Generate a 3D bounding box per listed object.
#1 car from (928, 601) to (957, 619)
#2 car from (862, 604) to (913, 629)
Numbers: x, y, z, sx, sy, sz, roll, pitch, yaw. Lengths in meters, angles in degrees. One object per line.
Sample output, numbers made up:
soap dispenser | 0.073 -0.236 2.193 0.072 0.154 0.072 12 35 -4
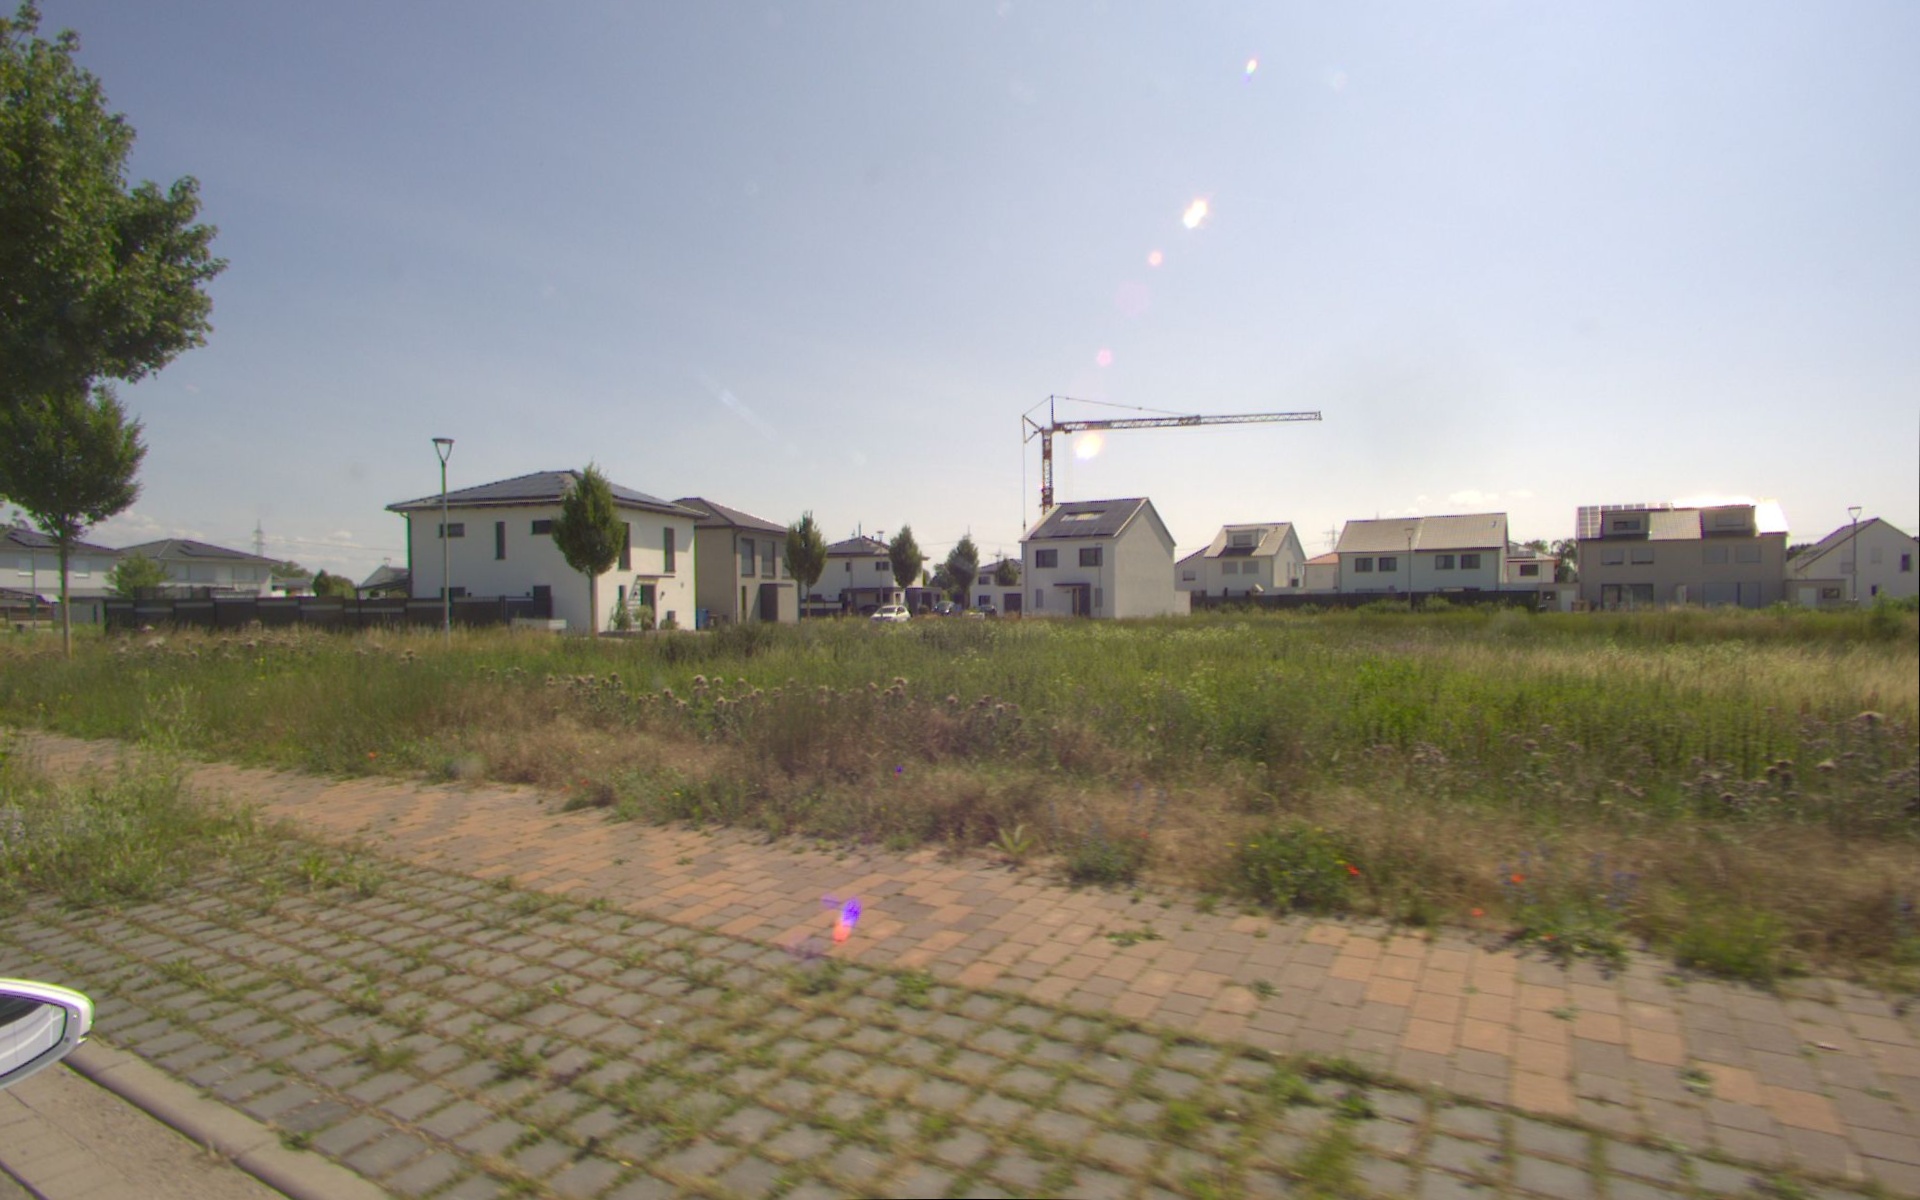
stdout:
car | -1.669 0.987 98.190 1.794 1.776 4.237 0 0 13
car | -4.338 0.975 60.563 1.719 1.416 3.993 -1 -1 18
